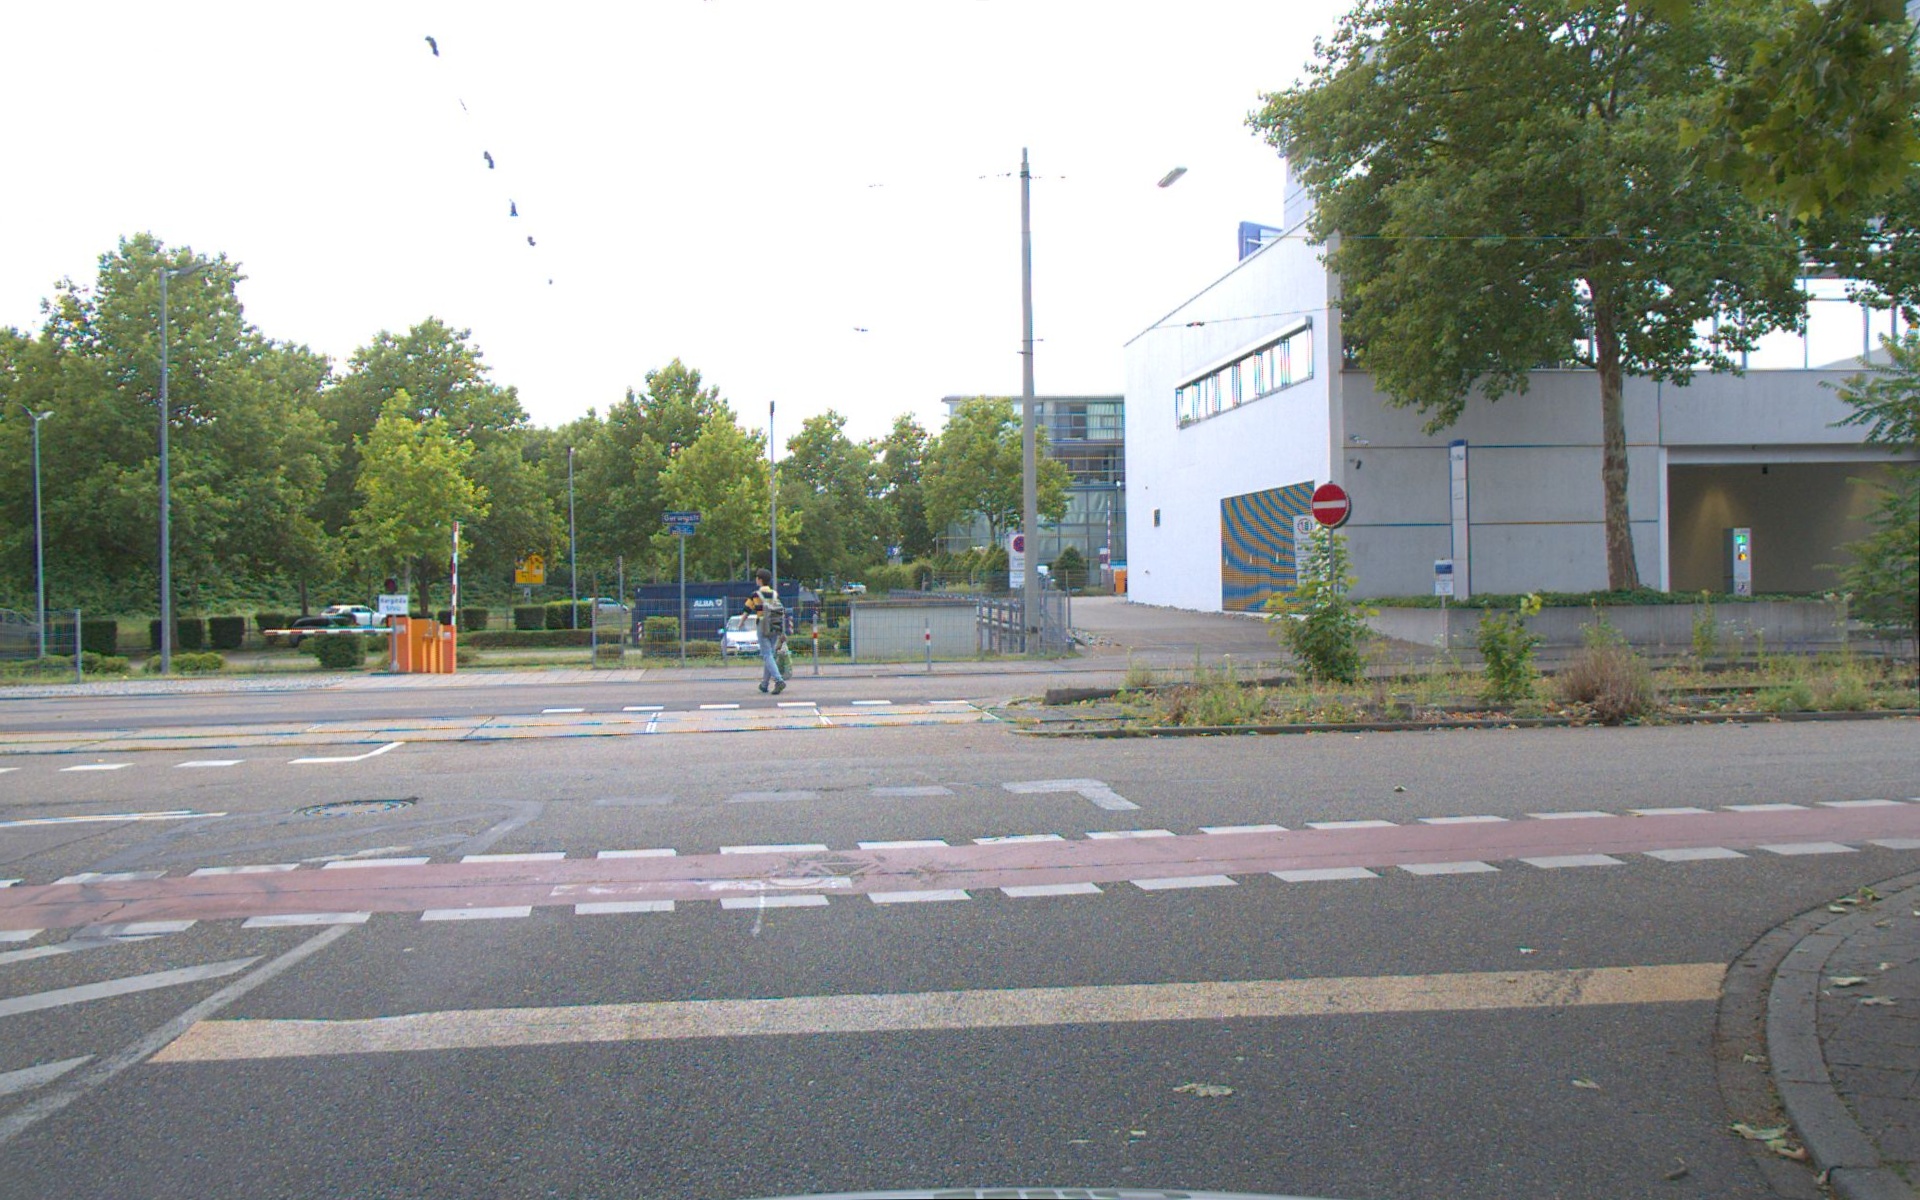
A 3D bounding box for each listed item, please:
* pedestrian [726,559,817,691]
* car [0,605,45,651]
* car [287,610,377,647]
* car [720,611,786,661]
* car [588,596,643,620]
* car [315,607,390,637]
[{"bbox_3d":[-2.787,0.353,24.407,0.987,1.881,1.220,-1,0,-24],"label":"pedestrian"},{"bbox_3d":[-46.885,1.374,79.790,1.818,2.173,4.566,-1,0,25],"label":"car"},{"bbox_3d":[-30.800,1.408,81.112,3.908,1.731,1.908,-1,0,25],"label":"car"},{"bbox_3d":[-6.503,1.112,52.210,1.893,1.427,4.076,-1,0,-5],"label":"car"},{"bbox_3d":[-26.125,0.616,125.511,1.876,1.751,4.296,-1,0,26],"label":"car"},{"bbox_3d":[-37.925,1.385,103.380,1.876,1.751,4.296,-1,0,26],"label":"car"}]
